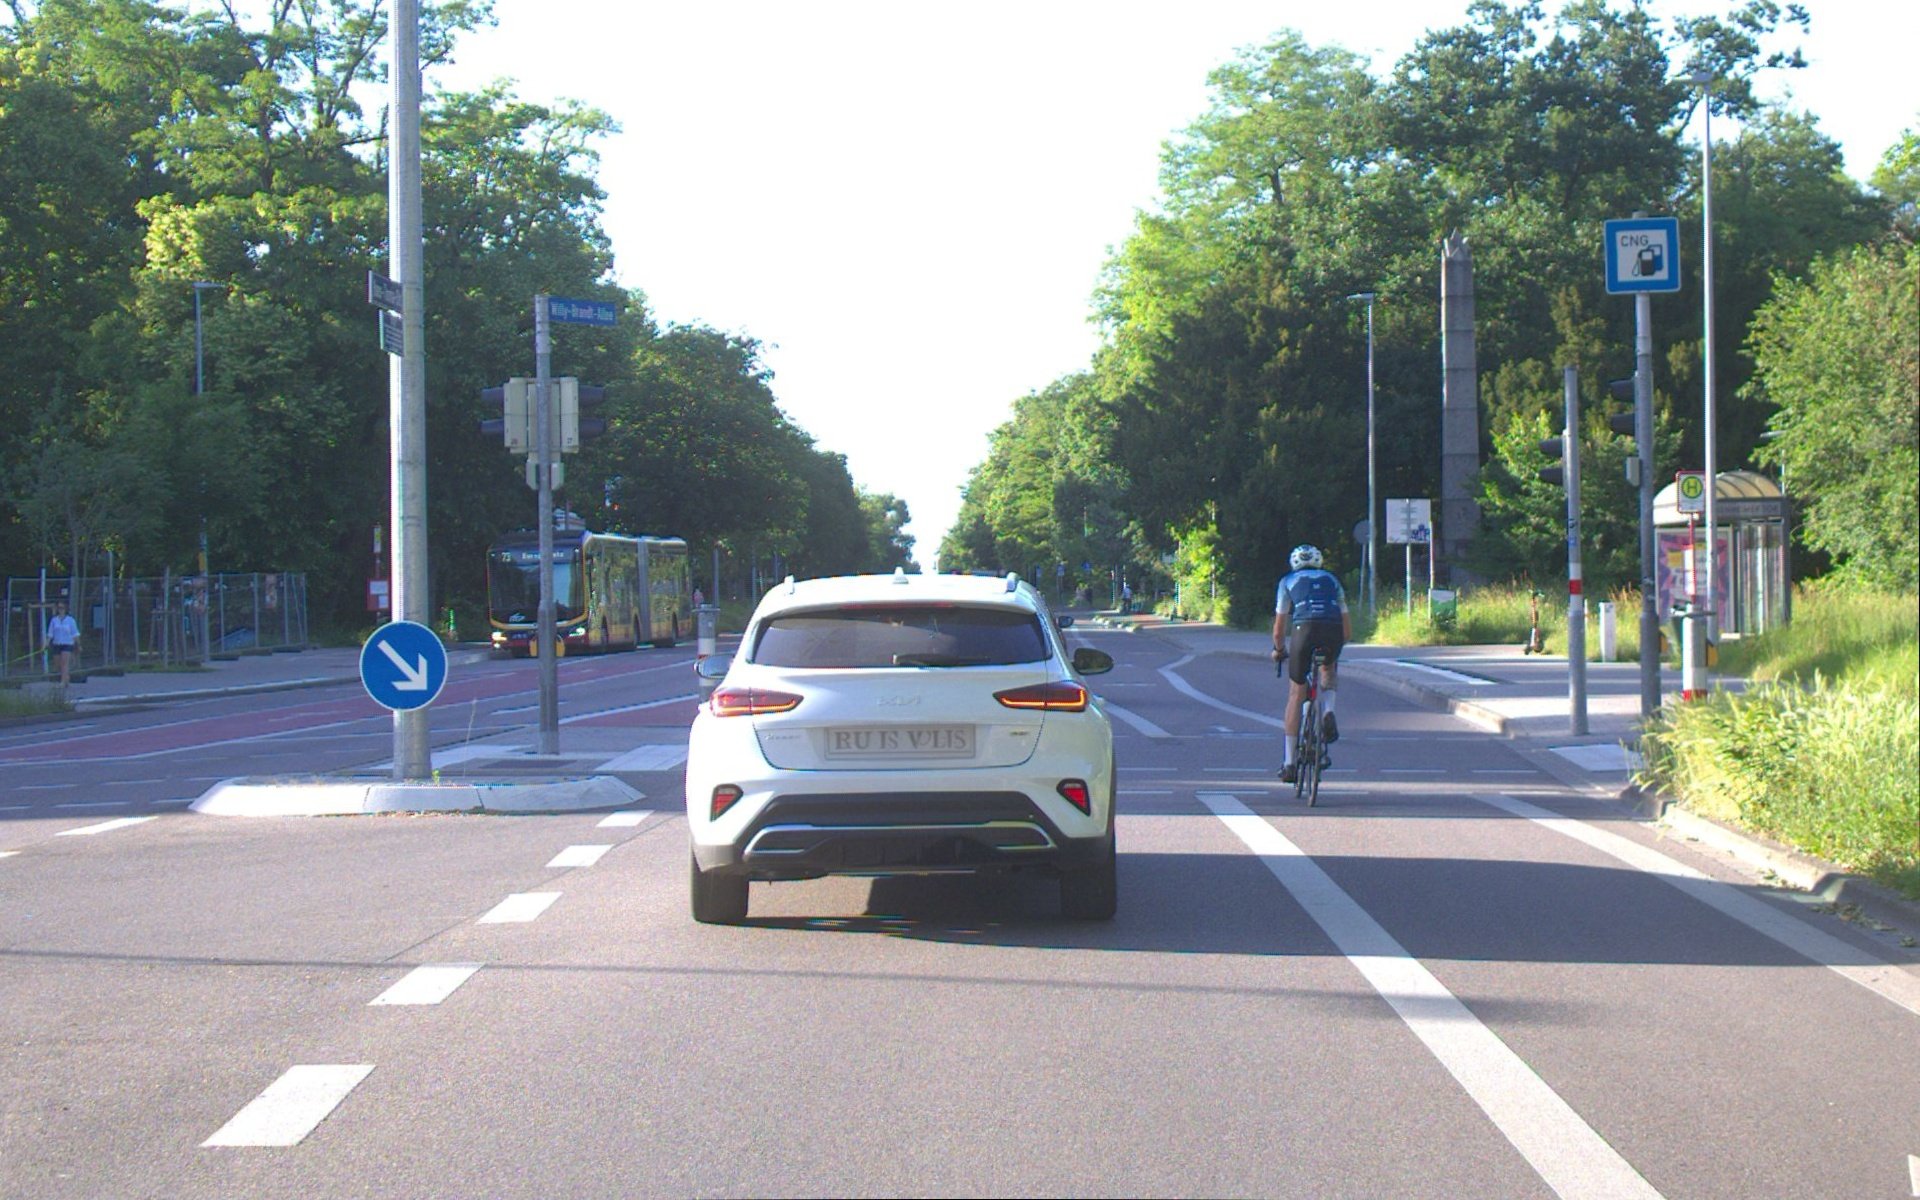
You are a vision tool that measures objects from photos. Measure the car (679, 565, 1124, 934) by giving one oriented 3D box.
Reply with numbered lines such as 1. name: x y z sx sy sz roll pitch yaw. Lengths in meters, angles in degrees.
1. car: -0.347 0.598 15.721 1.761 1.454 3.818 1 0 -3

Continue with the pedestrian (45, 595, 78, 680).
1. pedestrian: -16.361 0.674 62.626 0.451 1.528 0.571 -1 0 -3

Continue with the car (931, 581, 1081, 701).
1. car: 0.610 0.489 43.071 1.676 1.413 3.573 -1 0 4

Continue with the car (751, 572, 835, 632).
1. car: -4.181 0.036 86.610 1.711 1.416 4.554 -1 1 2

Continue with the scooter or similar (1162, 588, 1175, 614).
1. scooter or similar: 10.064 0.051 166.153 0.533 1.246 1.541 -1 0 0

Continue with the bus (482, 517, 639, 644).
1. bus: -10.601 -0.504 92.018 2.840 3.186 8.599 -1 0 2

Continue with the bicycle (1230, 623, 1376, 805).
1. bicycle: 2.238 0.715 22.439 0.891 1.092 2.135 1 0 6

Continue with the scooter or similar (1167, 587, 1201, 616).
1. scooter or similar: 9.671 0.060 148.303 1.537 1.246 0.534 -1 0 -43

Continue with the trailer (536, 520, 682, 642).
1. trailer: -10.209 -0.525 100.969 2.855 3.344 9.361 1 0 3

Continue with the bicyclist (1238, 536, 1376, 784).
1. bicyclist: 2.245 0.378 22.265 0.860 1.562 0.881 1 0 6

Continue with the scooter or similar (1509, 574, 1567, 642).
1. scooter or similar: 10.831 0.150 64.406 0.722 1.243 1.326 -2 -1 24
